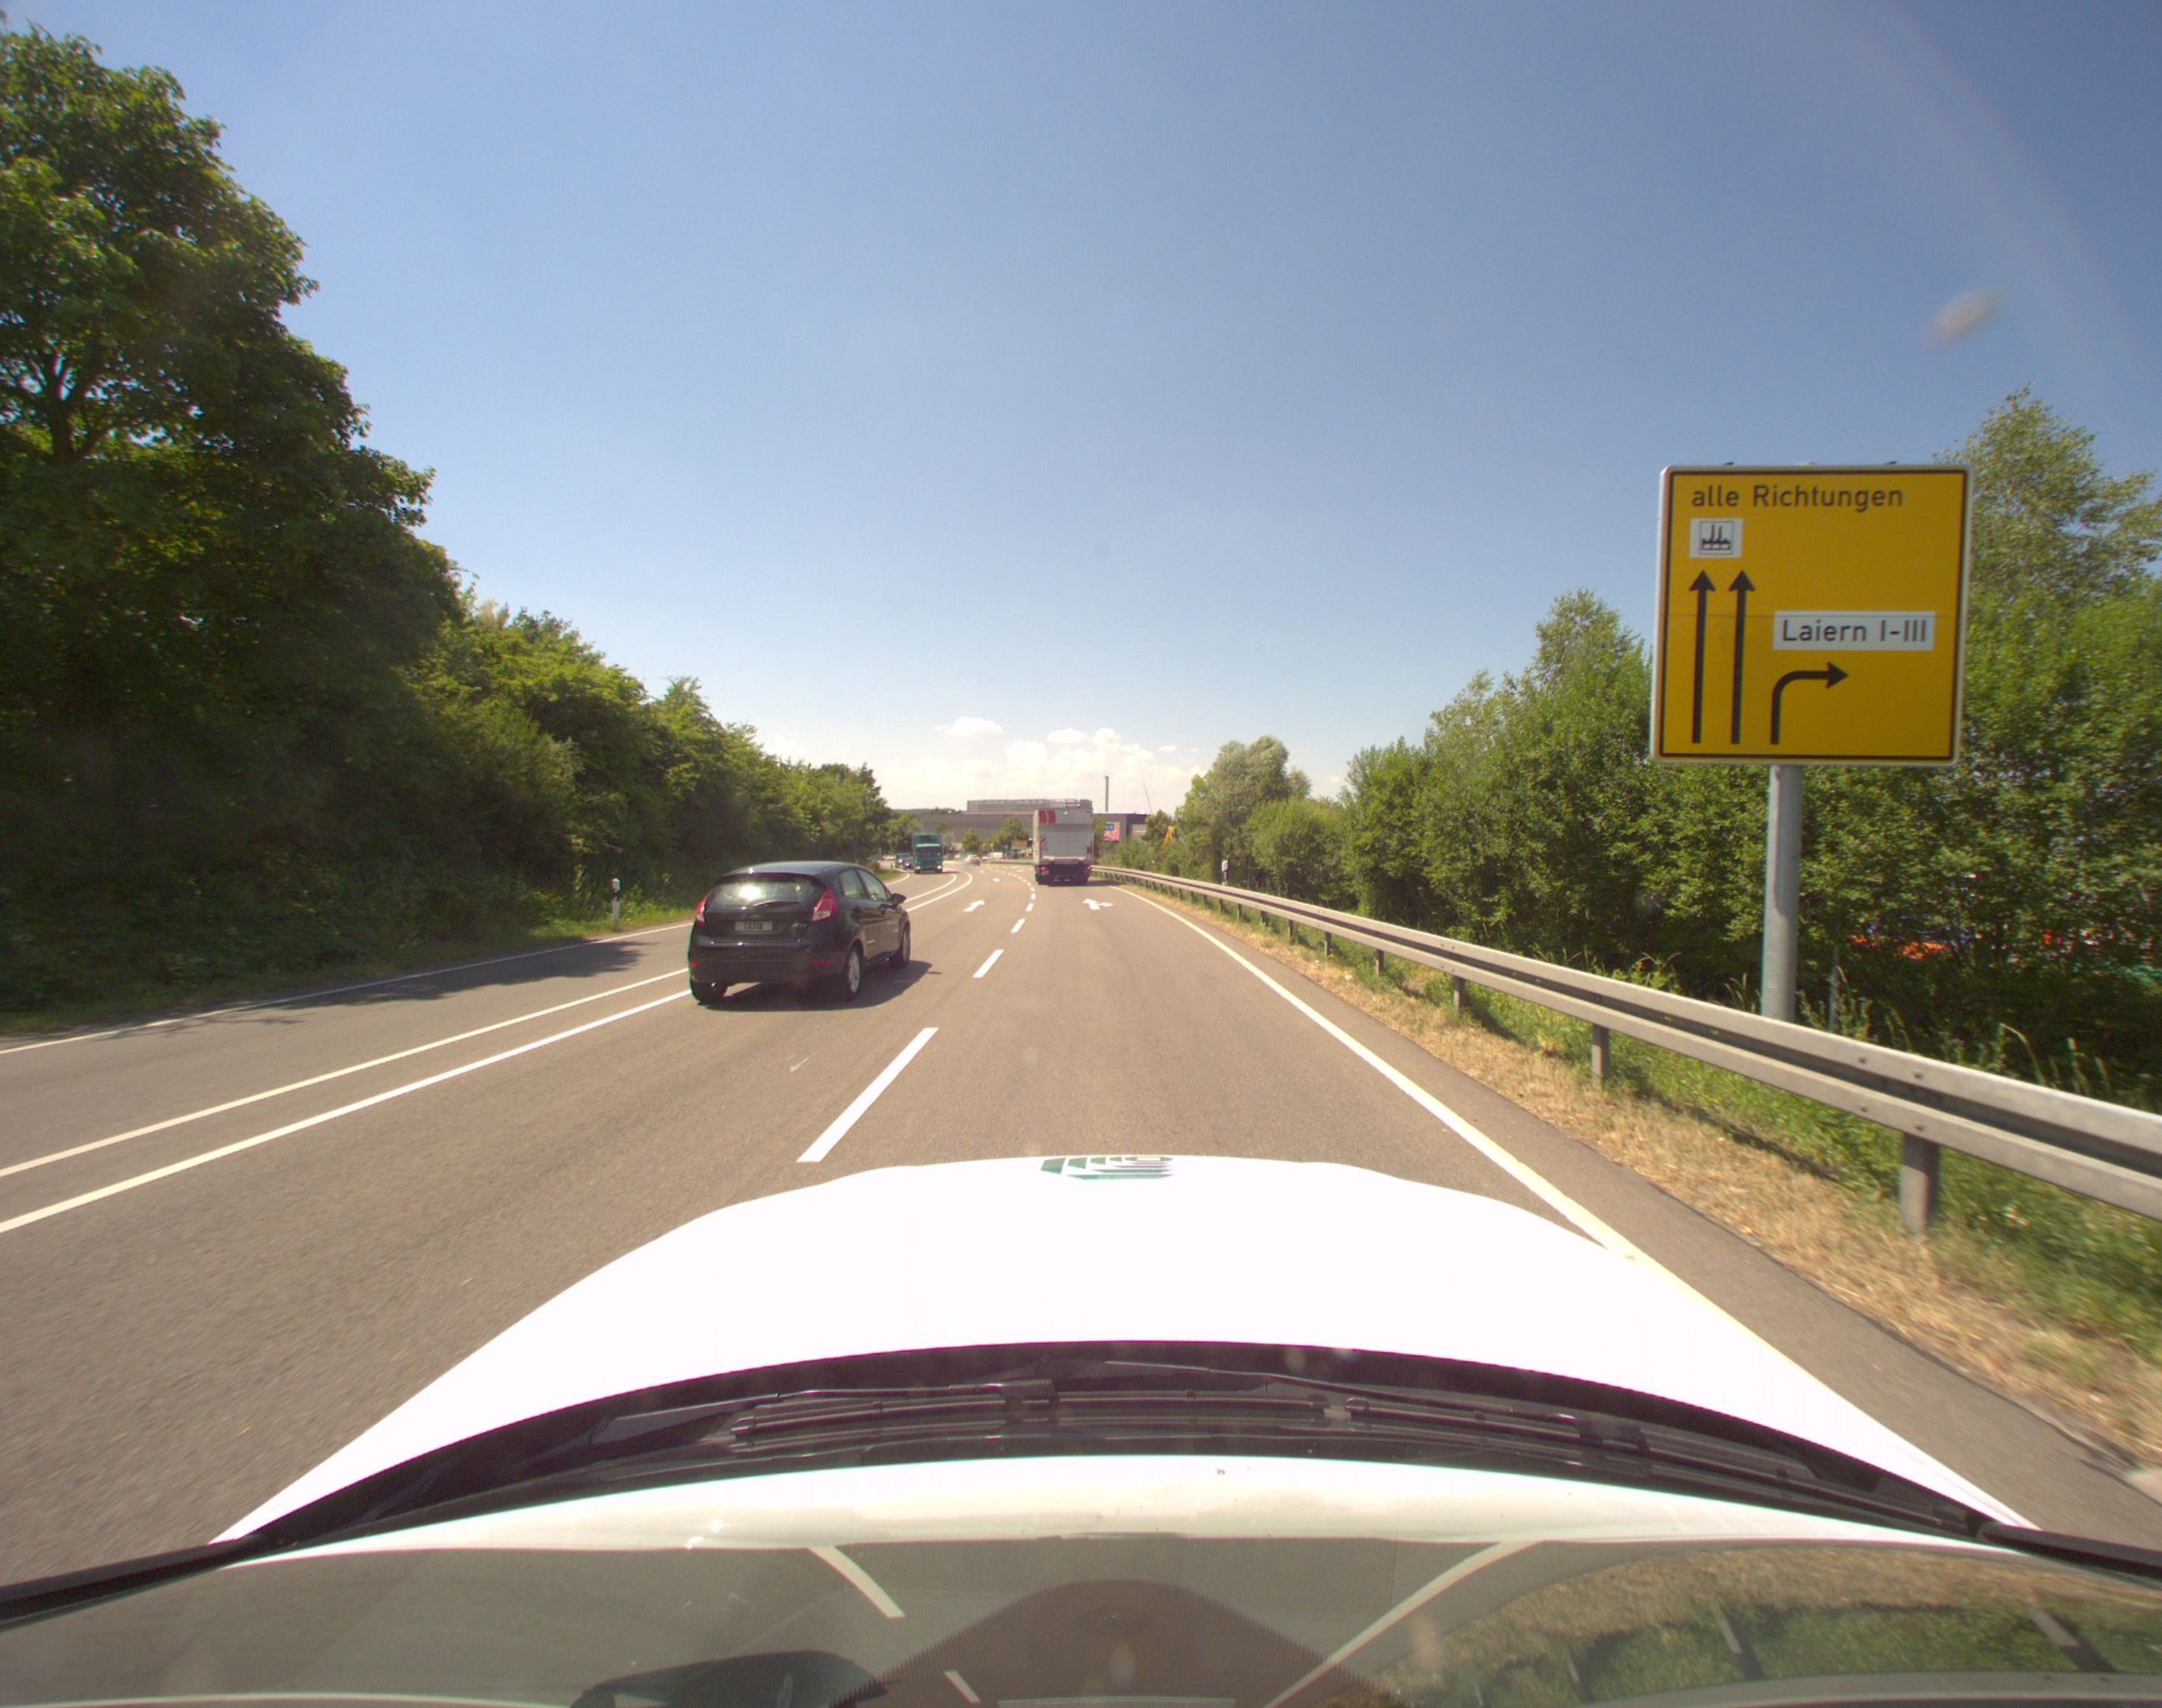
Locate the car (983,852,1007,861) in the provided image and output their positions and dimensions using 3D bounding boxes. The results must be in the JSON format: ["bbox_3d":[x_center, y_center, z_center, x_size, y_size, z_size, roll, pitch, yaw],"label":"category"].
[{"bbox_3d":[-18.224,0.567,172.463,4.724,1.932,2.156,-1,0,4],"label":"car"}]

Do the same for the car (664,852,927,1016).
[{"bbox_3d":[-3.148,0.771,9.959,1.647,1.493,4.209,0,1,1],"label":"car"}]

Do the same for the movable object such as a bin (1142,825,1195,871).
[{"bbox_3d":[10.493,-0.879,99.193,3.429,5.260,9.187,1,2,-14],"label":"movable object such as a bin"}]

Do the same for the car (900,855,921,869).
[{"bbox_3d":[-19.009,0.907,90.939,1.875,1.442,4.320,-1,0,-6],"label":"car"}]

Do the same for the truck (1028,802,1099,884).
[{"bbox_3d":[-1.069,-0.577,41.699,2.800,3.710,9.087,0,1,-7],"label":"truck"}]

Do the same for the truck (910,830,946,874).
[{"bbox_3d":[-13.530,-0.195,72.445,2.869,3.574,9.399,-1,0,-10],"label":"truck"}]

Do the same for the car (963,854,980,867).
[{"bbox_3d":[-15.314,0.862,113.720,1.946,1.664,3.982,2,0,-13],"label":"car"}]
